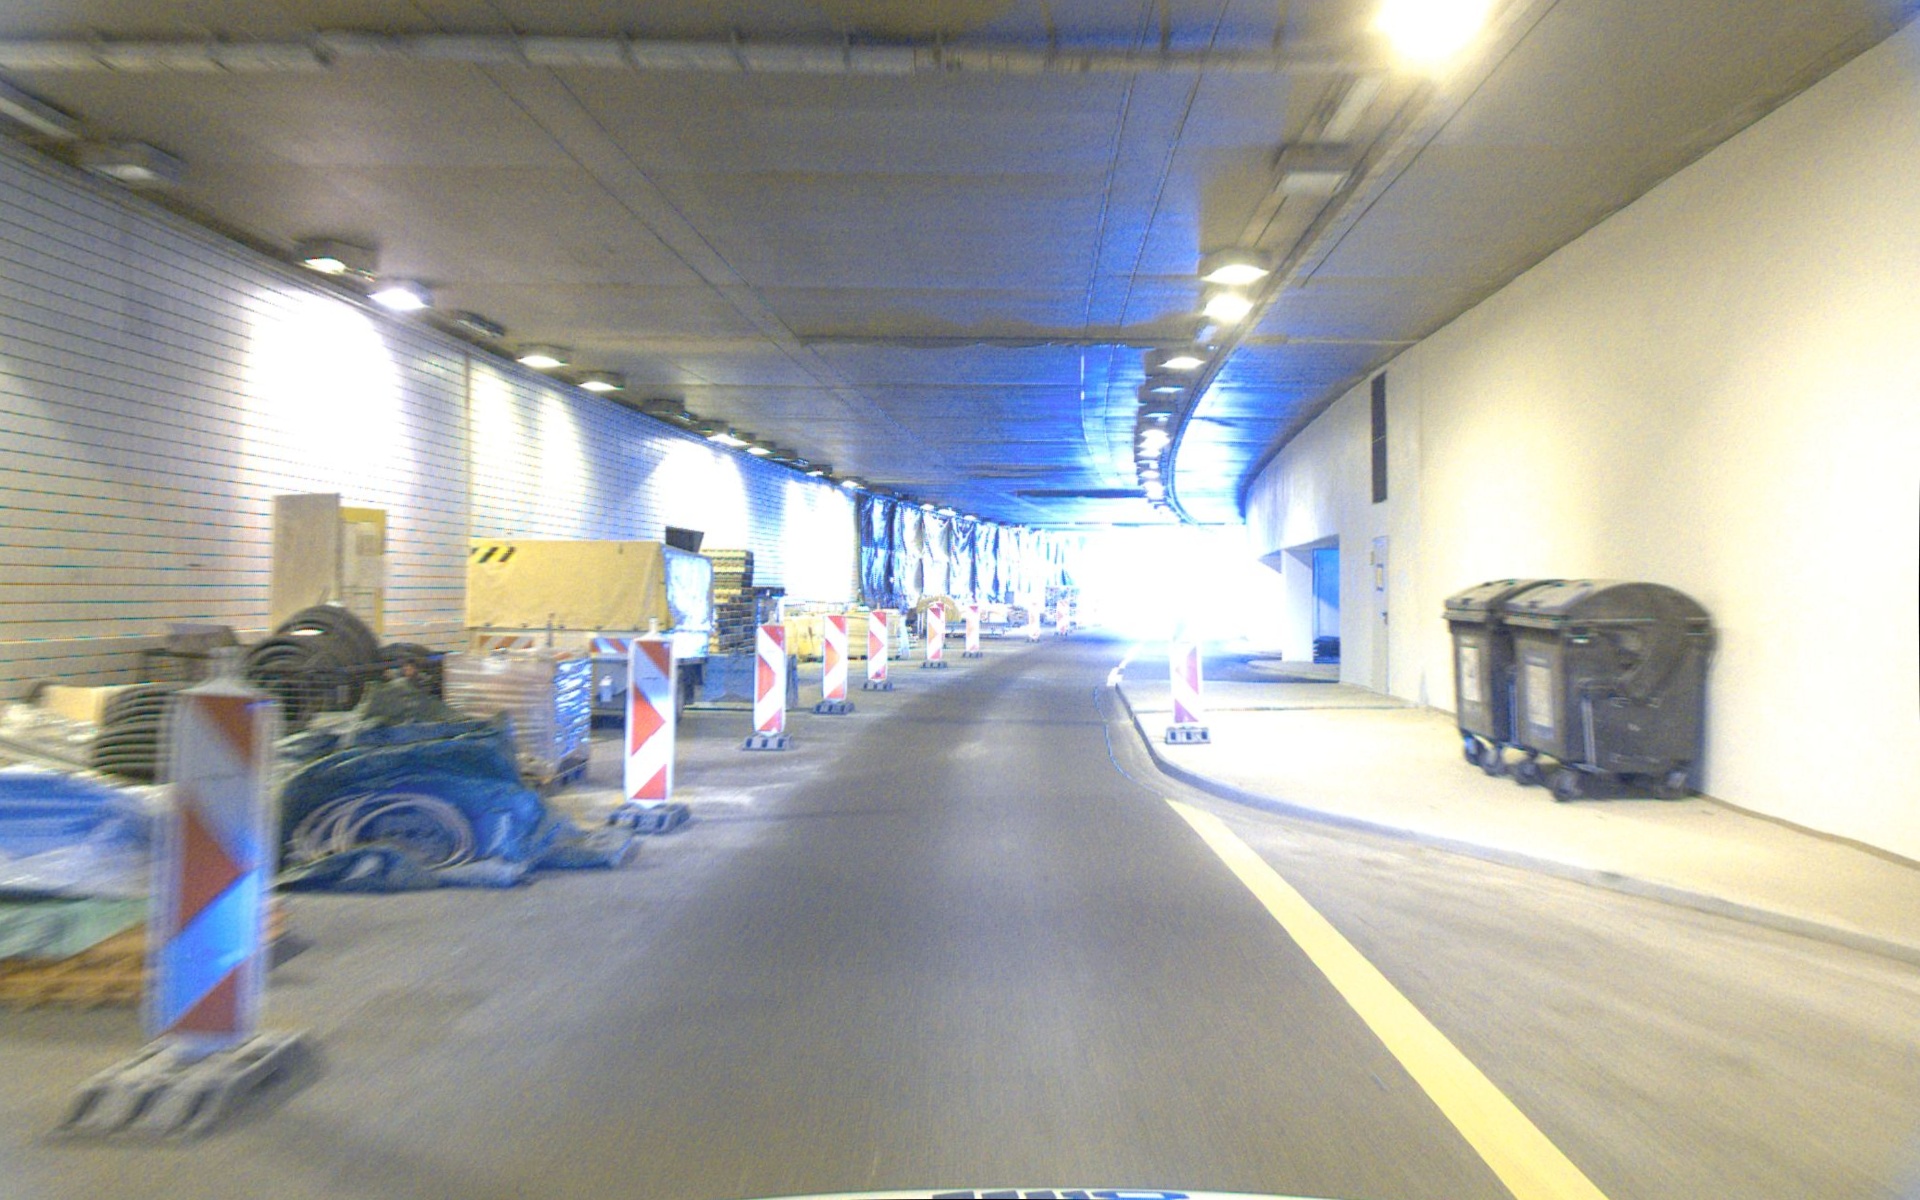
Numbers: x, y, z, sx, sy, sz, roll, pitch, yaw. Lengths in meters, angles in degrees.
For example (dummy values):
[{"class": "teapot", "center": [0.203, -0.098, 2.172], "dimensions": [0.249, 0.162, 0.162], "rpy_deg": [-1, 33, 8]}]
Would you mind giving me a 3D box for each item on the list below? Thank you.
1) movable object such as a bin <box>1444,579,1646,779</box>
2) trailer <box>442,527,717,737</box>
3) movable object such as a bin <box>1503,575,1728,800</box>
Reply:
[{"class": "movable object such as a bin", "center": [4.528, 0.584, 12.922], "dimensions": [1.122, 1.470, 1.364], "rpy_deg": [0, 0, 1]}, {"class": "trailer", "center": [-4.003, 0.324, 18.027], "dimensions": [2.163, 2.049, 3.466], "rpy_deg": [0, 0, 0]}, {"class": "movable object such as a bin", "center": [4.529, 0.578, 11.542], "dimensions": [1.075, 1.470, 1.322], "rpy_deg": [0, 0, 1]}]
